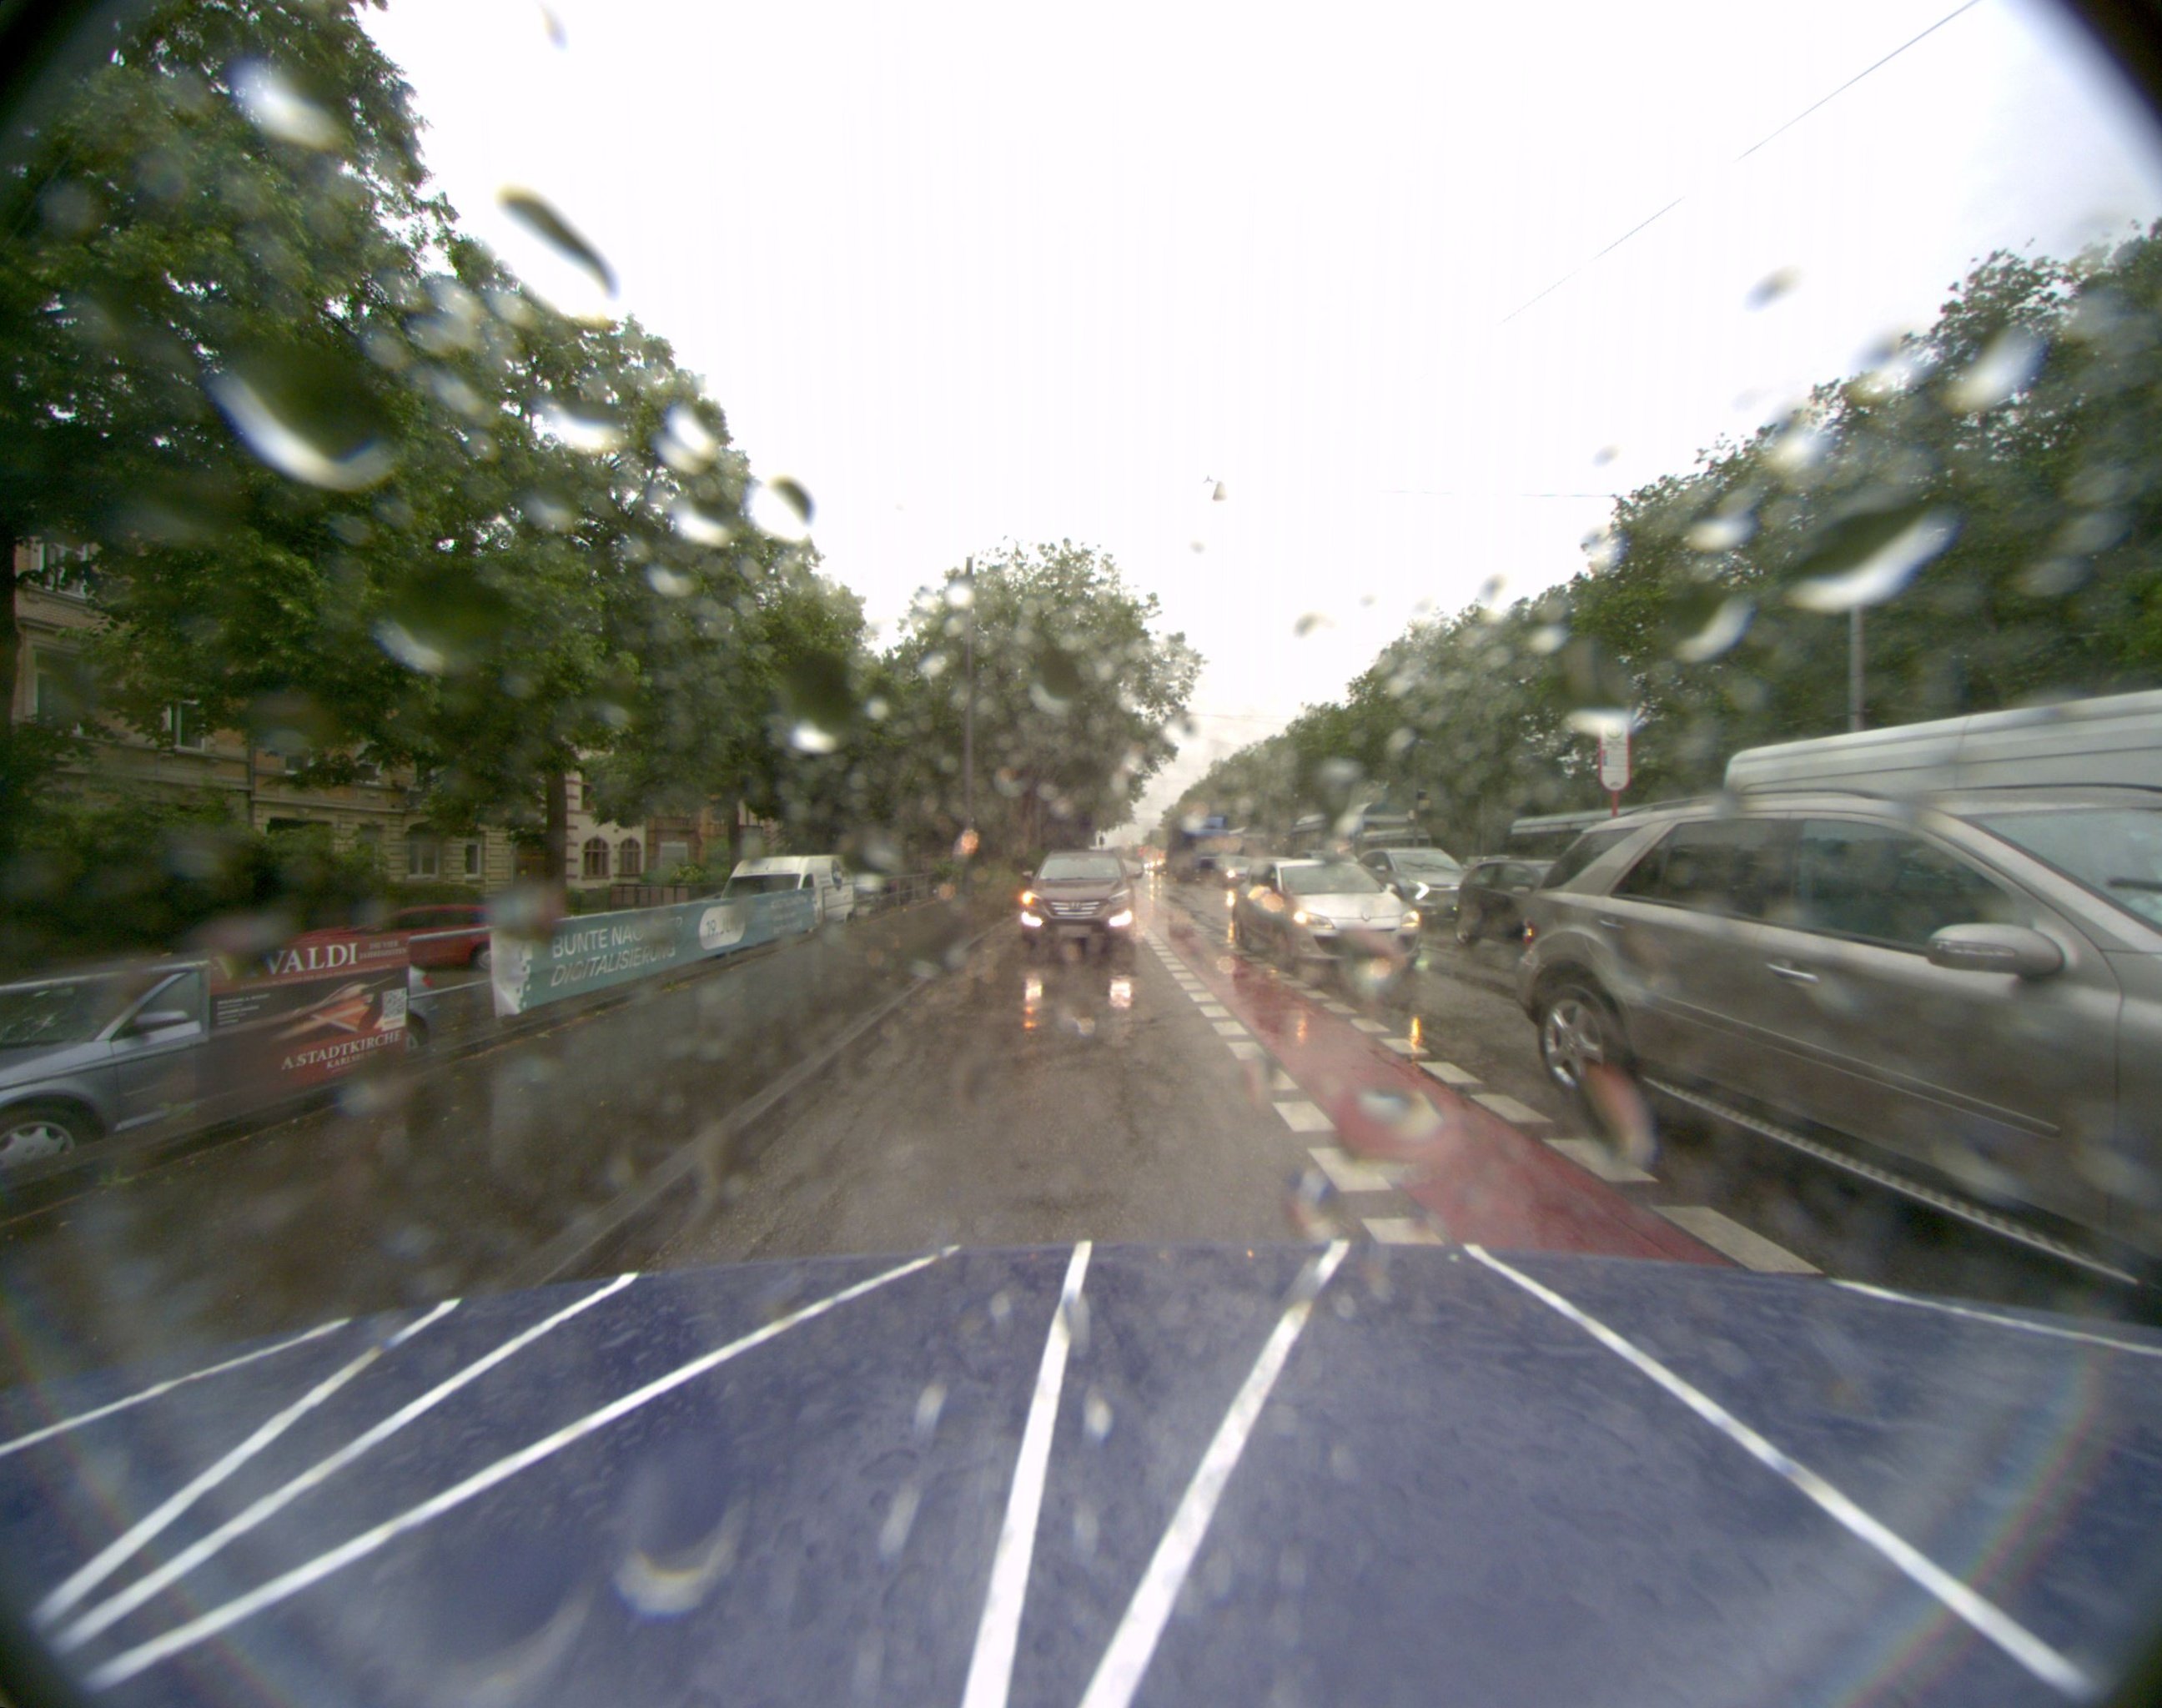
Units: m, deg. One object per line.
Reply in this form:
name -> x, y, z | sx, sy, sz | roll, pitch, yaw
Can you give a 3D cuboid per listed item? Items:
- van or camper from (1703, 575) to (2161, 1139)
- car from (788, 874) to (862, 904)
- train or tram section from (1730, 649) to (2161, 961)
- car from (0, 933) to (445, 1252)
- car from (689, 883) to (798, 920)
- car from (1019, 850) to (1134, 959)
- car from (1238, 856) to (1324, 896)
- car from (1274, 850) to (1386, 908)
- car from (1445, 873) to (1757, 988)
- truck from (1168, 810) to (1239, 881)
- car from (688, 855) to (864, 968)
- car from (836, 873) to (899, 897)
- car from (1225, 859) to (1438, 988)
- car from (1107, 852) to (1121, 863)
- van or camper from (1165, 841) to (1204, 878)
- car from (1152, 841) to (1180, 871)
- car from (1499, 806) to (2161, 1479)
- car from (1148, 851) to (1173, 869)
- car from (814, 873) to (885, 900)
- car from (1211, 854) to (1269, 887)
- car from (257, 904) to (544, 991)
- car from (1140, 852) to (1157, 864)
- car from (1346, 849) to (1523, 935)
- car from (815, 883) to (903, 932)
van or camper -> 7.063, 0.013, 4.337 | 2.164, 3.123, 5.850 | 0, 0, -1
car -> -15.720, 2.121, 46.675 | 4.006, 1.599, 1.821 | -2, 1, -31
train or tram section -> 13.838, -0.606, 7.323 | 3.522, 3.492, 13.658 | -2, 0, 1
car -> -7.234, 1.591, 5.551 | 1.736, 1.530, 4.074 | -2, 0, -1
car -> -14.858, 2.050, 33.511 | 4.269, 1.372, 1.687 | -1, 1, -27
car -> -0.008, 0.779, 13.727 | 1.756, 1.657, 3.678 | -2, 0, 2
car -> 7.527, 0.789, 29.070 | 1.999, 1.386, 4.606 | 0, 0, -1
car -> 7.569, 0.686, 23.592 | 1.999, 1.611, 4.319 | -1, 0, -1
car -> 6.744, 0.894, 10.452 | 1.467, 1.111, 4.087 | -2, 0, 0
truck -> 7.270, -0.486, 46.402 | 2.545, 3.866, 9.810 | 1, 0, -1
car -> -7.702, 1.280, 20.107 | 2.214, 2.406, 6.157 | -2, 0, -2
car -> -15.537, 2.238, 55.367 | 4.007, 1.455, 1.908 | -2, 1, -34
car -> 3.415, 0.853, 11.195 | 1.772, 1.469, 4.000 | -2, 0, 0
car -> 4.700, 0.445, 108.217 | 1.899, 1.569, 3.999 | 0, 0, 0
van or camper -> 7.635, 0.385, 56.719 | 1.998, 2.555, 6.431 | -2, 0, 0
car -> 7.289, 0.117, 65.705 | 1.998, 2.412, 5.727 | -2, 0, 3
car -> 3.812, 0.722, 2.812 | 2.030, 1.760, 4.462 | -2, 0, 0
car -> 7.618, 0.562, 73.336 | 1.998, 1.568, 4.000 | -2, 0, 1
car -> -15.316, 2.121, 50.262 | 4.007, 1.557, 1.995 | -2, 1, -34
car -> 7.583, 0.740, 36.613 | 1.895, 1.478, 4.077 | -1, 0, -1
car -> -14.625, 1.948, 16.751 | 4.439, 1.444, 1.894 | 0, -1, -32
car -> 7.096, 0.391, 79.894 | 1.467, 1.185, 3.615 | -2, 0, 0
car -> 7.450, 0.705, 16.588 | 1.919, 1.614, 4.454 | 0, 0, 2
car -> -7.854, 1.845, 27.325 | 1.972, 1.345, 4.383 | -3, 0, -3
